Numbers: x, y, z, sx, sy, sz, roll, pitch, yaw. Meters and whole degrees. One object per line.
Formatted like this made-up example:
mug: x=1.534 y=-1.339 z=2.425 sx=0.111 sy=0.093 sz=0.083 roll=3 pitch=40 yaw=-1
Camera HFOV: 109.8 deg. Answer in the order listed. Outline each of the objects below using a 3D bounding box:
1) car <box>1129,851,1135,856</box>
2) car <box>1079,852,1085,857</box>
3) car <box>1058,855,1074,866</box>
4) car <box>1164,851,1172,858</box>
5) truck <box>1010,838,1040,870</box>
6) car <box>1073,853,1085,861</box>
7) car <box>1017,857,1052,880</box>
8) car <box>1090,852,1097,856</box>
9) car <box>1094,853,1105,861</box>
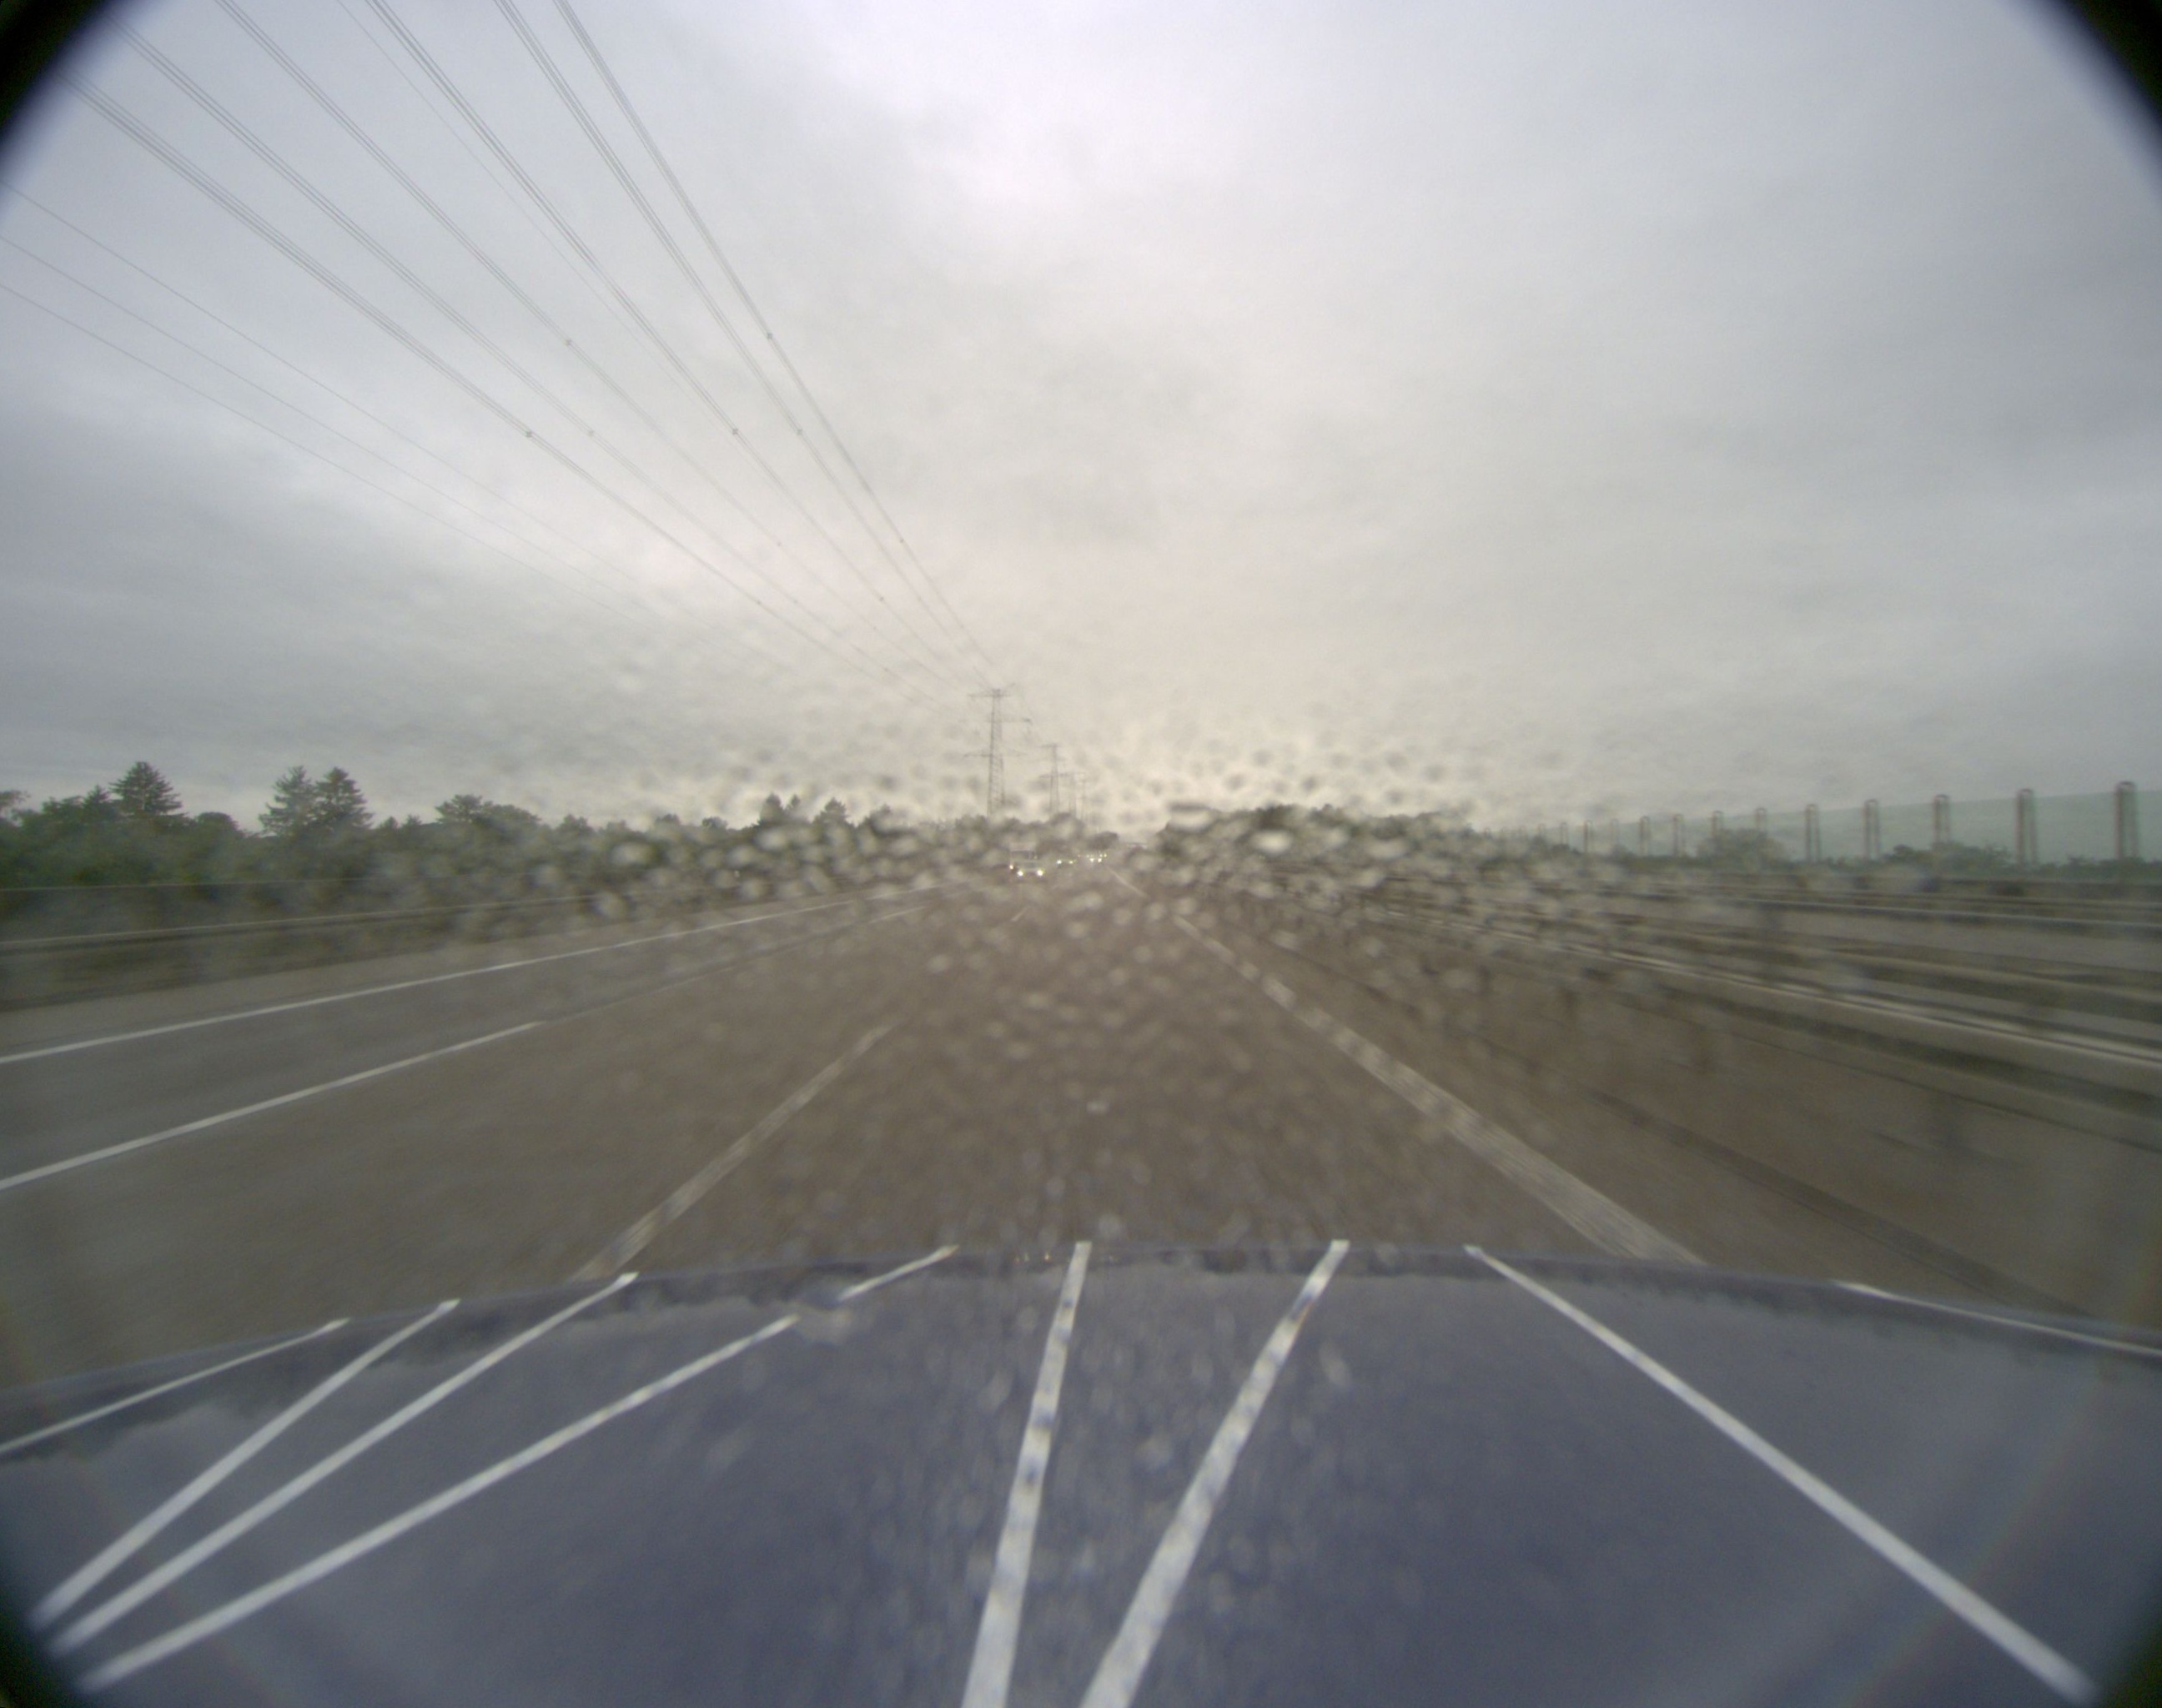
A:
car: x=17.067 y=-0.116 z=255.626 sx=1.688 sy=1.528 sz=3.860 roll=-1 pitch=0 yaw=1
car: x=0.376 y=0.182 z=245.136 sx=1.783 sy=1.482 sz=4.000 roll=-1 pitch=0 yaw=1
car: x=-2.001 y=0.862 z=104.991 sx=1.998 sy=1.418 sz=4.000 roll=-1 pitch=0 yaw=1
car: x=20.893 y=0.104 z=182.969 sx=1.688 sy=1.488 sz=3.860 roll=-1 pitch=0 yaw=1
truck: x=-6.174 y=0.006 z=85.421 sx=2.649 sy=3.324 sz=6.931 roll=-1 pitch=0 yaw=1
car: x=-0.380 y=0.614 z=144.454 sx=1.998 sy=1.418 sz=4.000 roll=-1 pitch=0 yaw=1
car: x=-3.018 y=0.921 z=50.144 sx=1.998 sy=1.418 sz=4.000 roll=-1 pitch=0 yaw=1
car: x=4.034 y=0.028 z=245.501 sx=1.998 sy=1.418 sz=4.000 roll=-1 pitch=0 yaw=1
car: x=3.462 y=0.567 z=140.219 sx=1.998 sy=1.418 sz=4.000 roll=-1 pitch=0 yaw=1
